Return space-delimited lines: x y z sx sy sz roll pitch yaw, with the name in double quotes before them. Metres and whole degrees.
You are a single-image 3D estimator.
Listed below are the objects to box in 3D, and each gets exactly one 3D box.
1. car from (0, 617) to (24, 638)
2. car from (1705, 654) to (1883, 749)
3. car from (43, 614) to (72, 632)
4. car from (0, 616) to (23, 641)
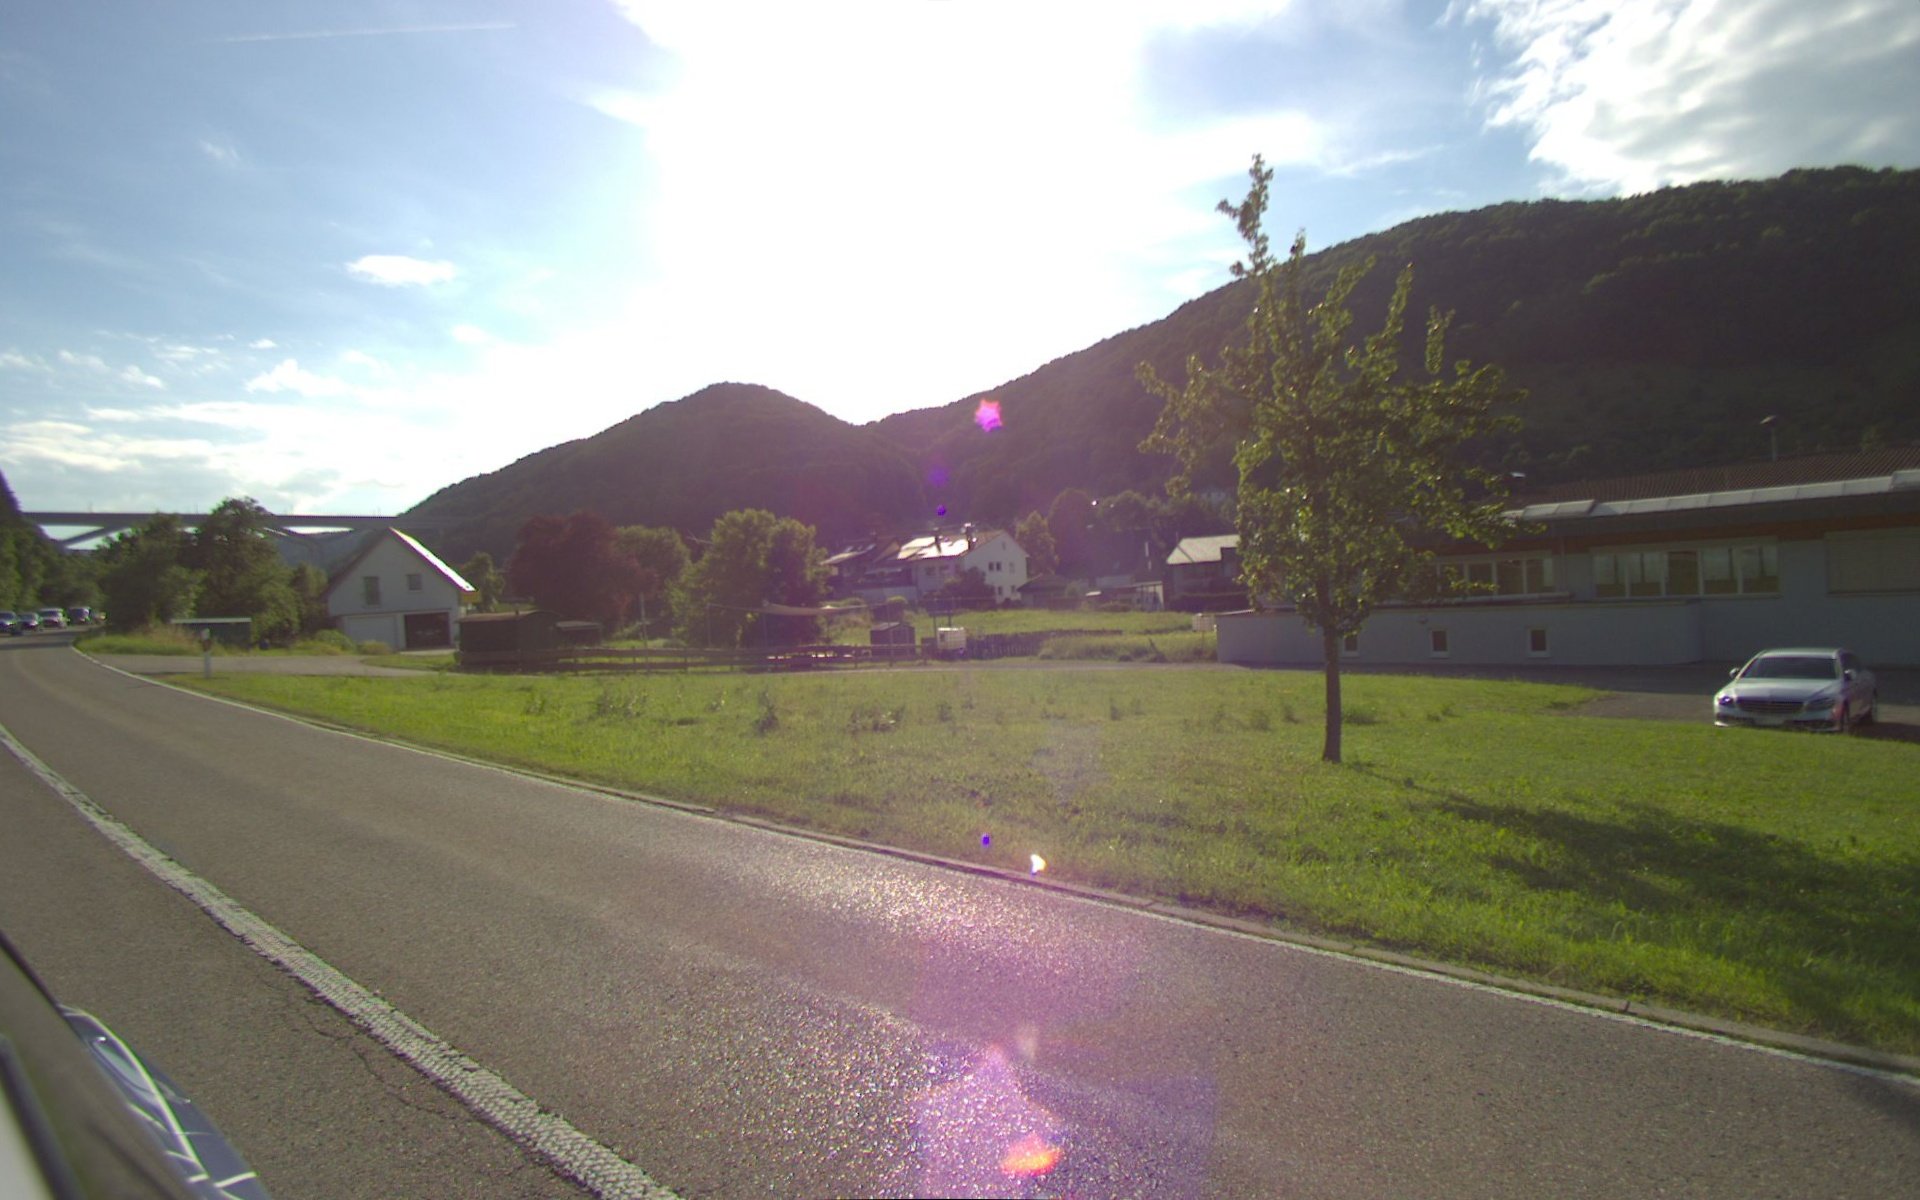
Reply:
"car" -71.453 2.033 75.990 1.606 1.490 3.684 -1 0 -42
"car" 15.370 1.768 18.593 3.837 1.379 1.856 0 0 -40
"car" -79.830 2.026 89.503 3.680 1.490 1.608 -1 0 44
"car" -61.046 1.804 64.482 3.678 1.490 1.609 -1 0 41
